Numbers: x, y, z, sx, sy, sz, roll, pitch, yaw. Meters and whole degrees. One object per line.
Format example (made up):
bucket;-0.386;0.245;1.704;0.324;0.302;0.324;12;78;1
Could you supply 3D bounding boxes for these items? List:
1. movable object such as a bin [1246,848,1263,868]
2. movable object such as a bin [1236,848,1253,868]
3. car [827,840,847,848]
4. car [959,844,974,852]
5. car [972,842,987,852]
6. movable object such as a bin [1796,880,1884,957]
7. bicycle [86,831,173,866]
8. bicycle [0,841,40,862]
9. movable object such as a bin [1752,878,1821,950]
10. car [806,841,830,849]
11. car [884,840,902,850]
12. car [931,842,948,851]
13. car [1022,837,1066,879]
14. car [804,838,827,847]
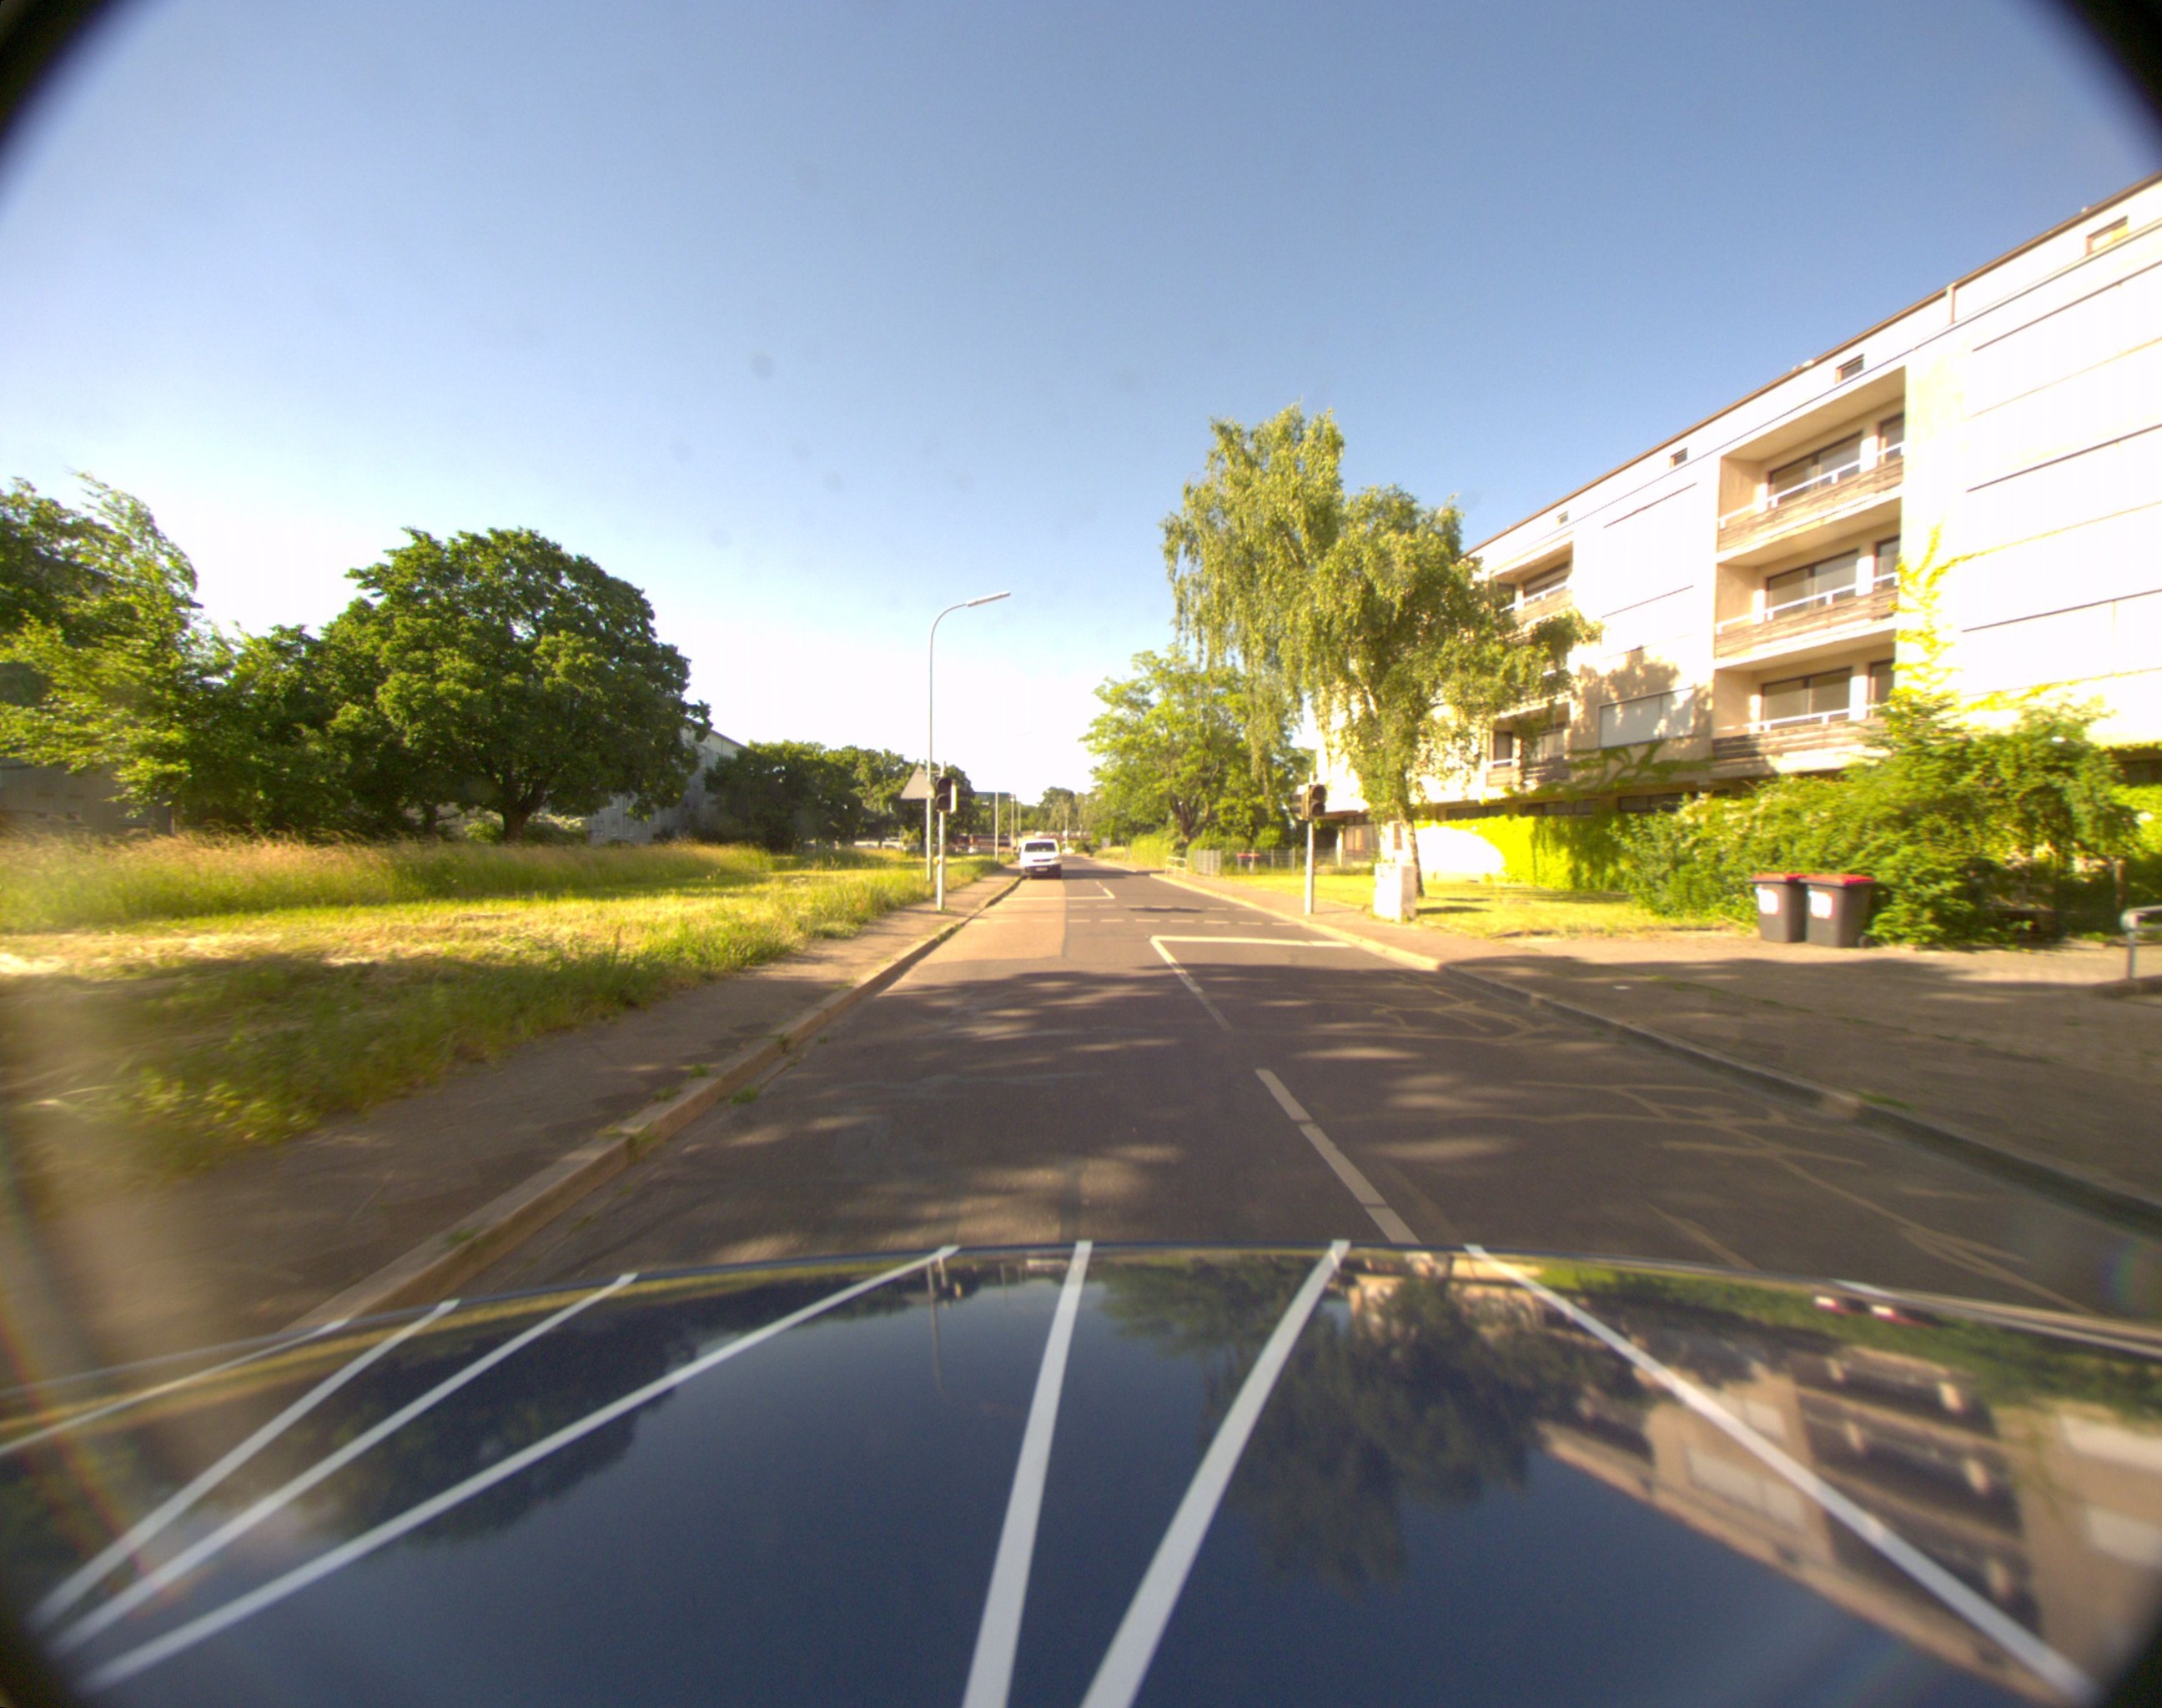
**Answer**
movable object such as a bin;9.056;0.211;39.746;0.623;1.018;0.710;1;1;-7
movable object such as a bin;8.544;0.196;39.668;0.623;1.018;0.710;1;1;-7
car;-48.161;-1.988;150.075;1.954;1.552;4.003;1;1;11
car;-21.577;-1.158;143.861;1.779;1.316;4.002;1;1;7
car;-19.196;-1.324;143.642;1.955;1.849;4.001;1;1;5
movable object such as a bin;11.068;0.919;11.092;0.629;1.042;0.701;0;2;-23
bicycle;-43.366;-0.283;34.678;0.782;1.516;2.752;1;1;-8
bicycle;-43.071;-0.085;30.055;0.694;0.807;2.303;1;1;-2
movable object such as a bin;10.846;0.909;11.694;0.565;1.047;0.556;0;2;-22
car;-48.120;-1.627;138.999;3.632;1.442;2.002;1;1;14
car;-36.390;-1.725;147.380;1.954;1.764;4.002;1;2;11
car;-26.881;-1.449;144.401;1.858;1.763;4.003;1;1;11
car;-1.775;0.151;36.655;1.921;1.861;4.863;-1;1;-3
car;-52.885;-2.295;151.571;1.953;1.735;4.708;1;1;14
